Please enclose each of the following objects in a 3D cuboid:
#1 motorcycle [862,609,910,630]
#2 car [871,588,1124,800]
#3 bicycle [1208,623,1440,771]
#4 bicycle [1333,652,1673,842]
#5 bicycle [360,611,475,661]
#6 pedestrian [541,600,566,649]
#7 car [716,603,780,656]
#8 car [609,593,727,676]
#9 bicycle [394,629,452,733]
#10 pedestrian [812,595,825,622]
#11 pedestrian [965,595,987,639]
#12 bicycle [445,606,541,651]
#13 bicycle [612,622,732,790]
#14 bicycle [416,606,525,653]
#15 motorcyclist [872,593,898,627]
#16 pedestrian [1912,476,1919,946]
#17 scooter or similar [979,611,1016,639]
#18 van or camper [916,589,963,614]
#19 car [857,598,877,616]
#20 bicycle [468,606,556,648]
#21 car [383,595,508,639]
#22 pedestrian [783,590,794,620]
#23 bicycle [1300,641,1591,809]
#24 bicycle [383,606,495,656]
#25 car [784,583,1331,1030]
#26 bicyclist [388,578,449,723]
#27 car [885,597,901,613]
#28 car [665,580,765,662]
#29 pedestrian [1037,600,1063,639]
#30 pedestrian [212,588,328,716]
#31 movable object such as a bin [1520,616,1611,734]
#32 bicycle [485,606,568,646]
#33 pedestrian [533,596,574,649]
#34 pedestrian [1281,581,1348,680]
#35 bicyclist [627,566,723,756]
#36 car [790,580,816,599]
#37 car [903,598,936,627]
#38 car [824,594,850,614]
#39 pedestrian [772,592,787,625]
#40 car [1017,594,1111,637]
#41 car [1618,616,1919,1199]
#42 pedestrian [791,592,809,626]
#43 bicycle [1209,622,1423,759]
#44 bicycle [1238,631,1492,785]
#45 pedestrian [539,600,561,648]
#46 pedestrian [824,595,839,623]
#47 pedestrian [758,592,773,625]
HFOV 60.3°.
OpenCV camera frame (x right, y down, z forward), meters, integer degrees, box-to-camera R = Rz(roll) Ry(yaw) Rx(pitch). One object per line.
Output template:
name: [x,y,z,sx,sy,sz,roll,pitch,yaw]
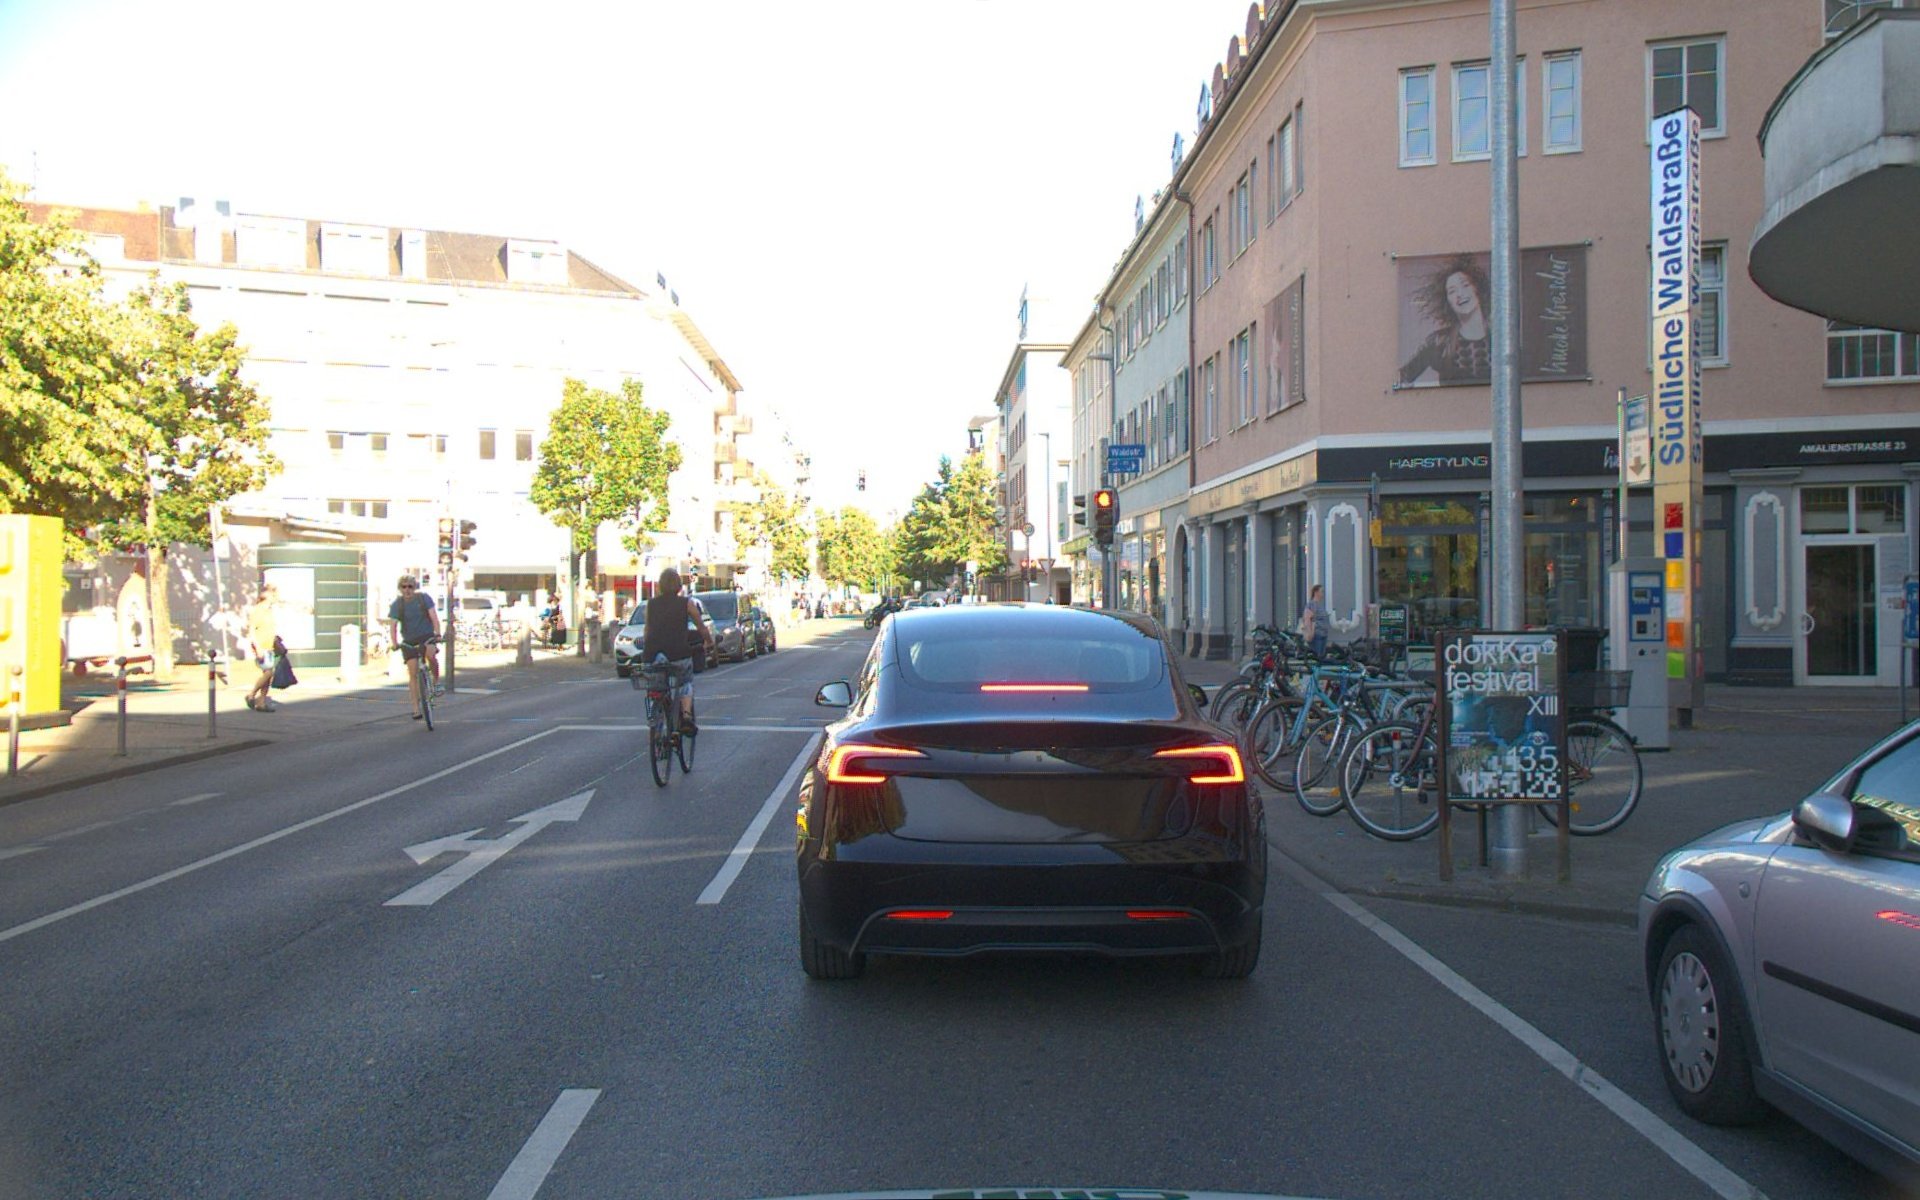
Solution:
motorcycle: [-3.730,0.981,83.505,2.351,1.054,0.776,1,0,-29]
car: [0.242,0.688,14.191,1.812,1.507,4.450,1,0,-1]
bicycle: [2.978,0.785,13.634,1.776,1.172,0.653,0,0,0]
bicycle: [3.278,0.877,10.086,1.844,1.062,0.653,-1,0,0]
bicycle: [-13.949,0.926,42.581,2.607,1.216,0.942,1,0,-4]
pedestrian: [-15.038,0.890,61.133,0.830,1.790,0.703,1,-1,-17]
car: [-6.335,0.854,49.687,1.431,1.455,3.605,-3,0,-1]
car: [-6.322,0.712,36.232,1.788,1.592,4.299,-3,0,-1]
bicycle: [-6.668,0.975,20.510,0.607,1.182,1.947,-3,0,-19]
pedestrian: [-9.923,0.583,115.838,0.685,1.900,0.904,1,-1,-20]
pedestrian: [0.651,0.703,67.705,0.649,1.790,0.649,1,-1,-24]
bicycle: [-14.009,0.846,49.638,2.609,1.281,0.942,1,0,-4]
bicycle: [-2.358,0.833,13.762,0.615,1.244,2.001,1,0,0]
bicycle: [-13.999,0.831,47.320,2.818,1.292,0.942,1,0,-4]
motorcyclist: [-3.789,0.500,83.458,1.096,1.662,0.770,1,-1,-26]
pedestrian: [4.172,0.440,6.075,0.792,1.855,0.983,1,0,2]
scooter or similar: [1.539,1.035,68.155,1.317,1.154,0.803,1,-1,-25]
van or camper: [-2.063,0.163,167.515,4.752,2.481,1.850,0,0,-1]
car: [-10.496,0.820,186.962,2.089,2.004,4.133,0,0,-1]
bicycle: [-14.060,0.850,51.913,2.491,1.273,0.942,1,0,-4]
car: [-22.686,0.724,72.954,5.124,1.899,1.871,0,0,-23]
pedestrian: [-10.764,0.309,103.710,0.681,1.900,0.658,1,-1,-6]
bicycle: [3.249,0.824,11.158,1.776,1.078,0.653,0,0,0]
bicycle: [-14.123,0.844,44.919,2.725,1.296,0.932,1,0,-4]
car: [0.298,0.703,7.767,1.812,1.472,4.450,1,0,-1]
bicyclist: [-6.673,0.601,20.392,0.690,1.739,0.806,0,0,-18]
car: [-8.029,0.606,197.234,1.854,1.845,3.923,1,0,-2]
car: [-6.230,0.507,42.560,1.906,1.981,4.819,0,0,-1]
pedestrian: [3.839,0.818,70.596,0.800,1.637,0.700,1,-1,-38]
pedestrian: [-9.791,0.720,23.515,1.086,1.750,1.062,1,0,10]
movable object such as a bin: [6.042,0.734,16.536,0.623,1.122,0.728,-2,0,3]
bicycle: [-14.226,0.857,54.335,2.491,1.273,0.942,1,0,-4]
pedestrian: [-12.765,0.692,51.955,1.072,1.639,1.264,1,0,-7]
pedestrian: [5.754,0.490,26.841,0.782,1.576,0.716,1,-1,-32]
bicyclist: [-2.345,0.488,13.676,0.594,1.510,0.958,1,0,0]
car: [-17.012,-1.139,179.402,2.228,2.049,4.717,1,0,0]
car: [-2.544,0.761,103.147,1.995,1.819,4.004,0,0,-3]
car: [-12.339,0.387,166.258,2.365,2.004,4.677,0,0,-1]
pedestrian: [-10.577,0.495,97.096,0.721,1.900,0.787,1,-1,-17]
car: [4.714,0.701,74.736,3.937,1.900,1.686,0,0,-22]
car: [2.920,0.784,3.532,1.551,1.451,3.579,1,0,-1]
pedestrian: [-9.153,0.509,94.518,0.719,1.900,0.790,1,-1,28]
bicycle: [3.161,0.794,14.772,1.776,1.172,0.653,0,0,0]
bicycle: [3.049,0.807,12.562,1.776,1.121,0.653,0,0,0]
pedestrian: [-15.328,0.888,61.881,0.650,1.790,0.648,1,-1,-27]
pedestrian: [-8.736,0.590,112.506,0.762,1.900,1.003,1,-1,-19]
pedestrian: [-11.398,0.479,96.696,0.721,1.900,0.787,1,-1,-17]
